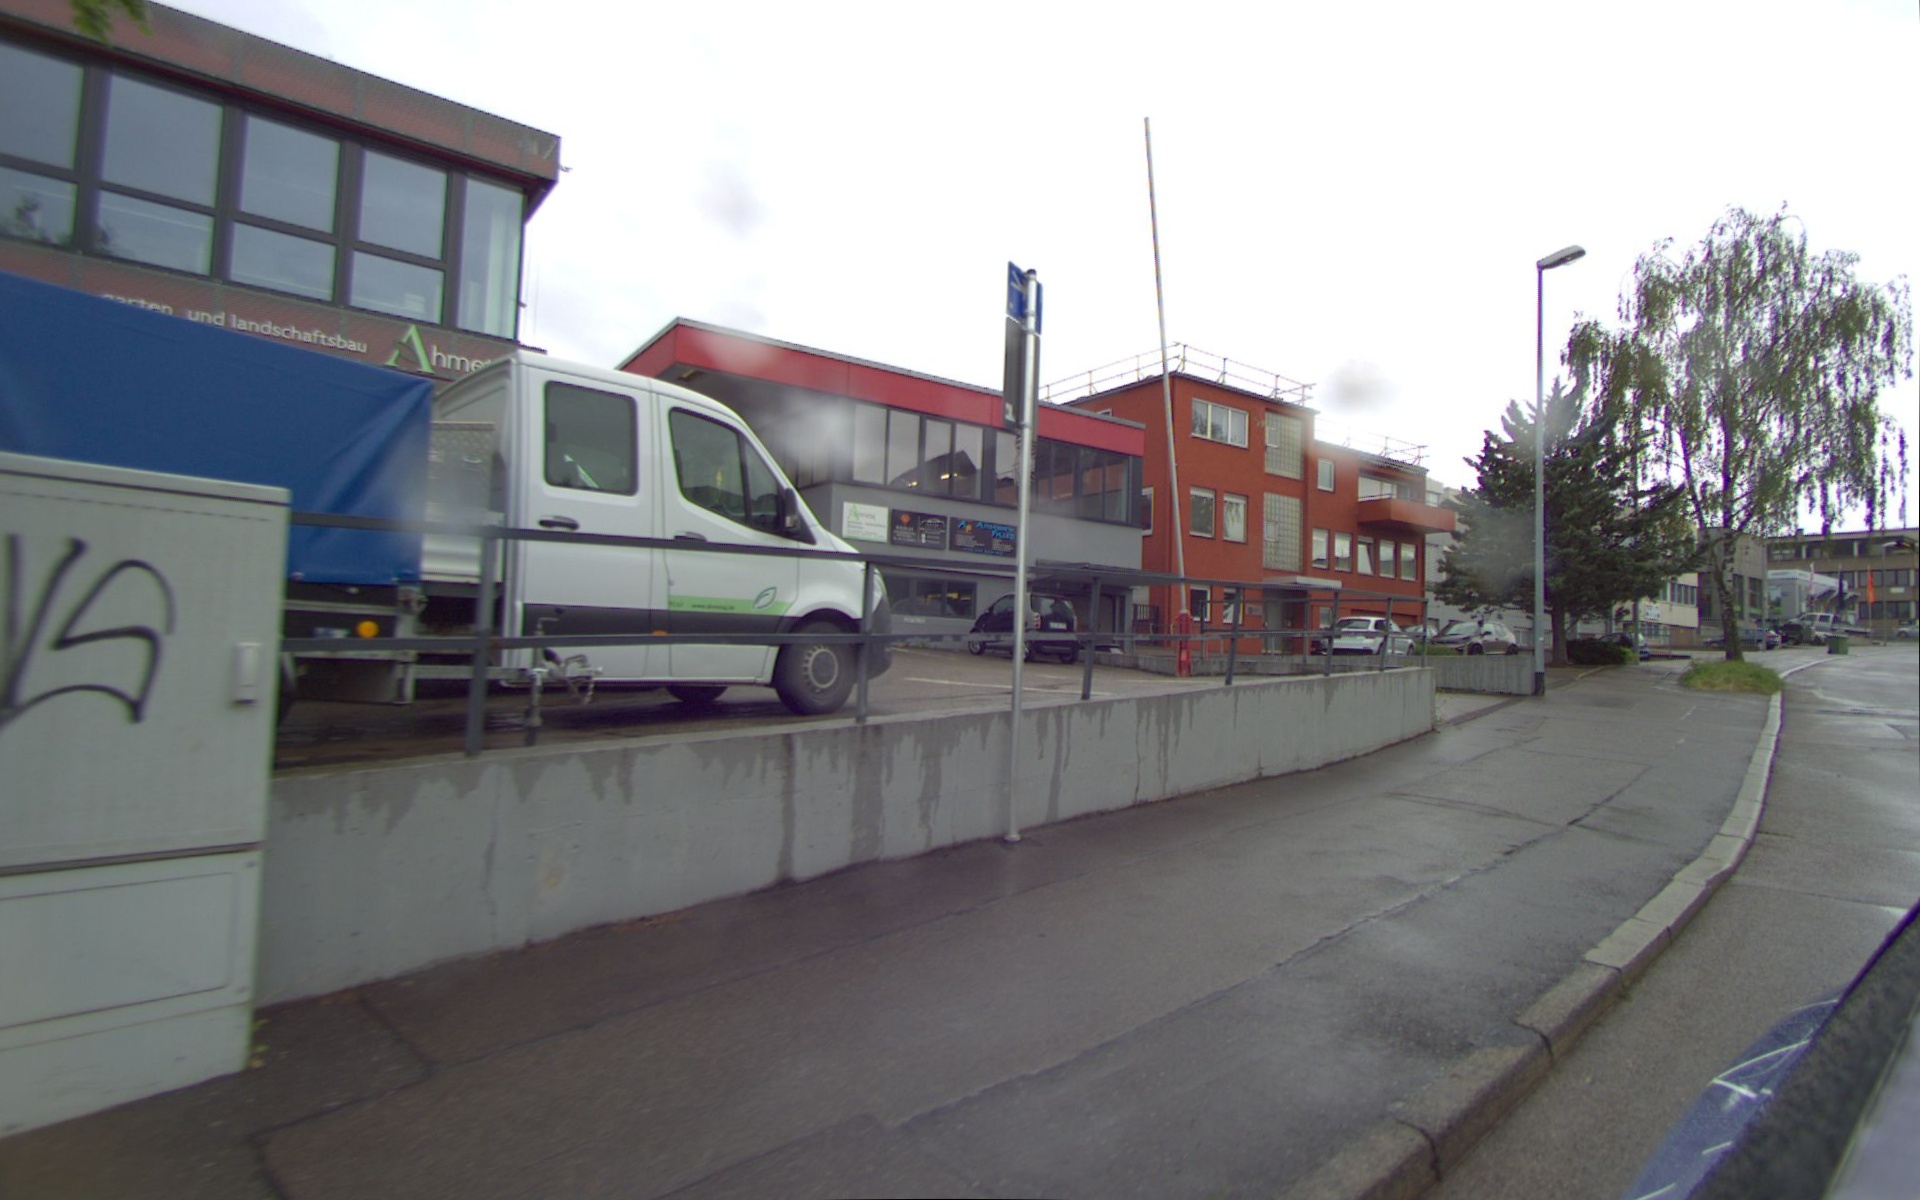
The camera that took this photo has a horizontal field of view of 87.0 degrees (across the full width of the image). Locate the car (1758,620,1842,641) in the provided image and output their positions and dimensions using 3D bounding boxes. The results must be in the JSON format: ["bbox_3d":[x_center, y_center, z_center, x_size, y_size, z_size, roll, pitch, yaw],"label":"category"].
[{"bbox_3d":[63.926,2.312,77.067,1.904,1.516,4.625,1,-1,-35],"label":"car"}]

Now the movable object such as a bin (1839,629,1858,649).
[{"bbox_3d":[50.646,2.240,57.709,0.584,1.104,0.735,2,-1,-41],"label":"movable object such as a bin"}]

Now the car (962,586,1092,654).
[{"bbox_3d":[1.511,0.435,23.407,1.646,1.465,2.720,1,0,-36],"label":"car"}]

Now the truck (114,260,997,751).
[{"bbox_3d":[-2.393,-0.396,7.338,2.106,2.242,5.560,0,-1,45],"label":"truck"}]

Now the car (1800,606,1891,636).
[{"bbox_3d":[72.039,1.677,82.429,2.159,2.323,5.158,1,-1,-33],"label":"car"}]

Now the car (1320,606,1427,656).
[{"bbox_3d":[13.600,1.003,33.167,1.903,1.489,4.261,1,-1,43],"label":"car"}]

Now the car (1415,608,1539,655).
[{"bbox_3d":[18.730,1.145,36.622,4.423,1.600,2.002,1,-3,-33],"label":"car"}]

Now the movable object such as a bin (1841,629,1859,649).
[{"bbox_3d":[51.110,2.218,58.126,0.584,1.104,0.735,2,-1,-41],"label":"movable object such as a bin"}]

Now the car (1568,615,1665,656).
[{"bbox_3d":[31.655,1.734,48.894,1.586,1.520,3.444,1,-10,-32],"label":"car"}]

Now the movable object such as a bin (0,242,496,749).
[{"bbox_3d":[-3.038,-0.309,3.934,1.302,1.520,1.834,0,-1,36],"label":"movable object such as a bin"}]

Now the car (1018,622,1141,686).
[{"bbox_3d":[3.178,1.396,27.209,1.600,1.514,3.042,1,0,-39],"label":"car"}]

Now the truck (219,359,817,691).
[{"bbox_3d":[-3.988,-0.506,9.656,4.753,2.372,2.246,1,-1,-42],"label":"truck"}]

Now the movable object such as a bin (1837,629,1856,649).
[{"bbox_3d":[50.202,2.227,57.308,0.584,1.104,0.735,2,-1,-41],"label":"movable object such as a bin"}]

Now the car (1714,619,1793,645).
[{"bbox_3d":[51.792,2.063,66.101,1.600,1.559,3.749,1,0,-37],"label":"car"}]
